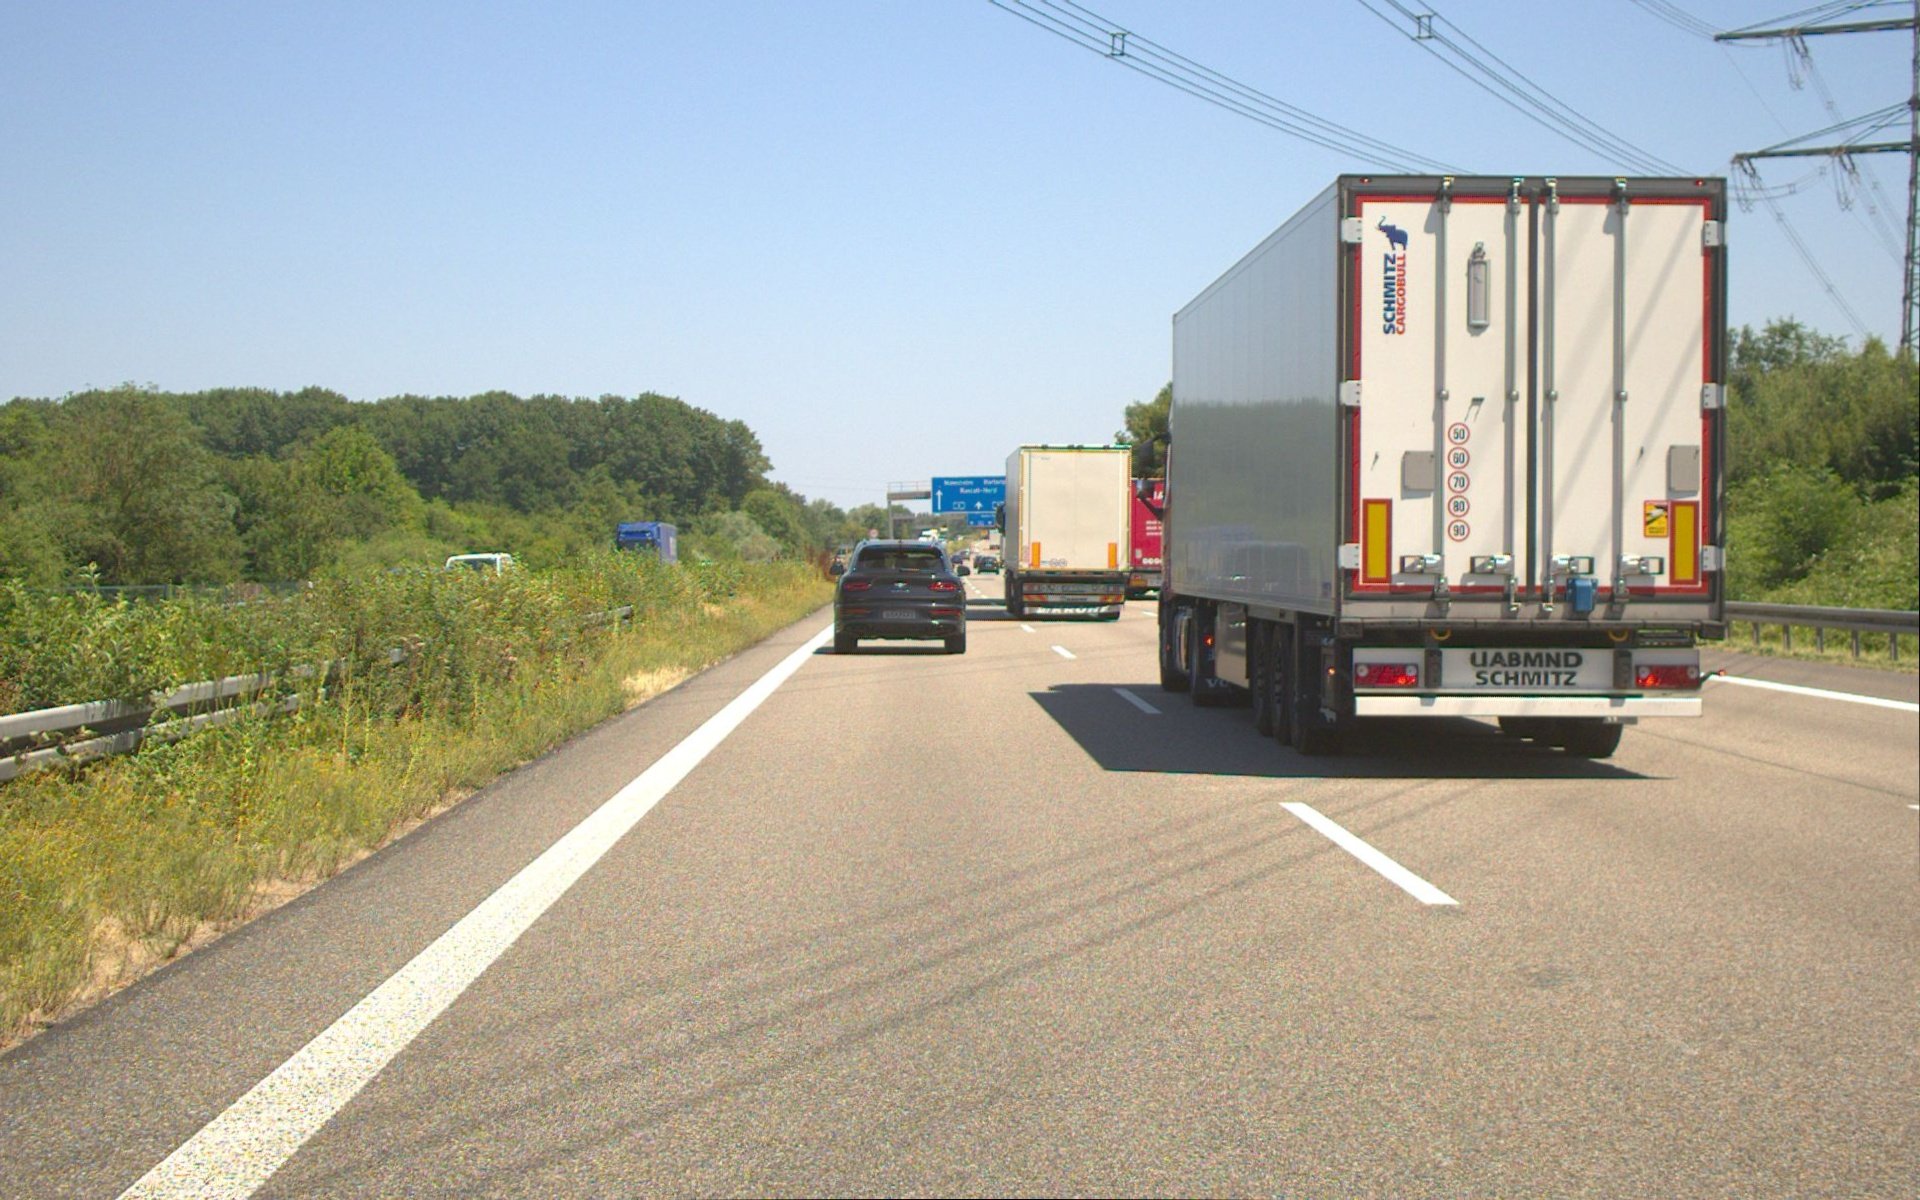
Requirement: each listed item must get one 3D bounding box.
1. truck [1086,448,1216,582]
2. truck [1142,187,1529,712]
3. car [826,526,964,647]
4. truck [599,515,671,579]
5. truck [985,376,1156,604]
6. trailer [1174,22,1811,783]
[{"bbox_3d":[6.673,-2.997,122.318,3.512,4.477,13.252,0,1,-2],"label":"truck"},{"bbox_3d":[3.707,-1.455,35.599,3.087,4.868,6.598,1,1,-1],"label":"truck"},{"bbox_3d":[-1.031,-0.243,52.783,1.993,1.766,4.001,-1,1,-3],"label":"car"},{"bbox_3d":[-19.806,-3.257,210.015,3.512,3.756,12.044,0,1,-1],"label":"truck"},{"bbox_3d":[2.542,-2.596,83.165,3.512,5.149,10.259,0,1,-1],"label":"truck"},{"bbox_3d":[3.834,-1.359,28.426,3.087,4.868,12.259,1,1,-1],"label":"trailer"}]
